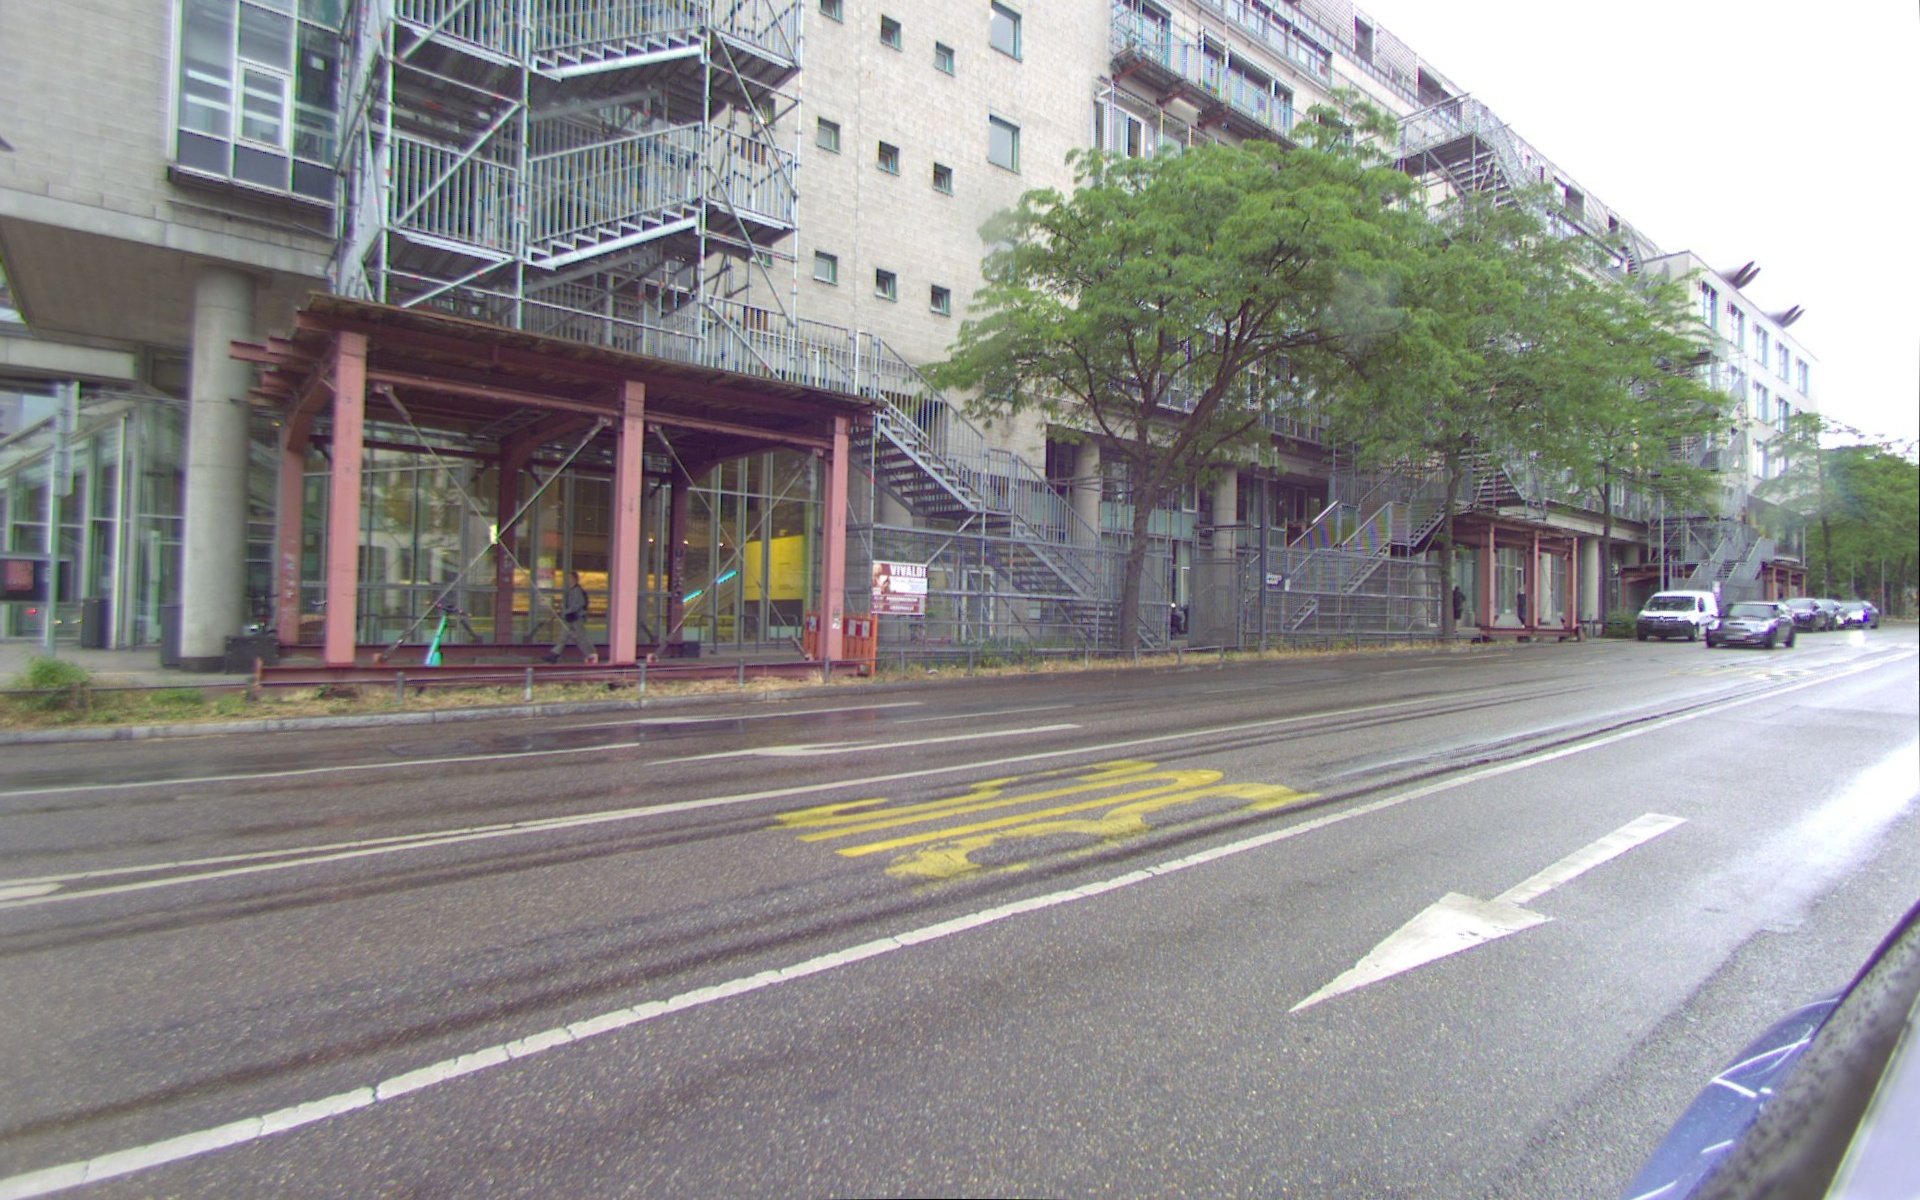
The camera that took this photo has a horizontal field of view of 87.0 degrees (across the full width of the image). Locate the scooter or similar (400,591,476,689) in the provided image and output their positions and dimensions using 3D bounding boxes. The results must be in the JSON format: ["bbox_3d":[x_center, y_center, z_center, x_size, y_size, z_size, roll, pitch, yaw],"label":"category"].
[{"bbox_3d":[-6.940,0.487,13.419,0.576,1.209,1.782,1,0,-38],"label":"scooter or similar"}]

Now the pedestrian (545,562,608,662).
[{"bbox_3d":[-7.094,0.217,18.717,0.774,1.798,0.783,0,0,31],"label":"pedestrian"}]

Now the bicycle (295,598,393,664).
[{"bbox_3d":[-11.988,0.573,19.742,0.580,1.209,1.602,0,0,24],"label":"bicycle"}]

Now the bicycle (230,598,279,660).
[{"bbox_3d":[-14.409,0.577,20.654,0.577,1.209,1.611,0,0,-44],"label":"bicycle"}]

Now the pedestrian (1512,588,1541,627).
[{"bbox_3d":[26.736,0.337,47.737,0.832,1.822,1.008,0,0,-44],"label":"pedestrian"}]

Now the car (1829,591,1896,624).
[{"bbox_3d":[48.930,0.362,54.861,4.733,1.667,2.145,-1,0,-41],"label":"car"}]

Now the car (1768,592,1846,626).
[{"bbox_3d":[40.246,0.400,48.073,4.733,1.513,2.145,-1,1,-41],"label":"car"}]

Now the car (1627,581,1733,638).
[{"bbox_3d":[26.065,0.304,36.595,4.254,1.930,2.211,-1,0,-41],"label":"car"}]

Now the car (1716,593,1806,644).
[{"bbox_3d":[24.783,0.529,31.276,3.660,1.474,1.740,0,1,-44],"label":"car"}]

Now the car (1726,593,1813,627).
[{"bbox_3d":[35.090,0.407,43.823,4.733,1.353,2.145,-1,1,-41],"label":"car"}]

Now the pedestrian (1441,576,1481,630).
[{"bbox_3d":[18.996,0.103,38.370,1.021,2.039,1.009,0,0,-41],"label":"pedestrian"}]

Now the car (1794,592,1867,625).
[{"bbox_3d":[44.357,0.372,51.535,4.733,1.580,2.145,-1,1,-41],"label":"car"}]
